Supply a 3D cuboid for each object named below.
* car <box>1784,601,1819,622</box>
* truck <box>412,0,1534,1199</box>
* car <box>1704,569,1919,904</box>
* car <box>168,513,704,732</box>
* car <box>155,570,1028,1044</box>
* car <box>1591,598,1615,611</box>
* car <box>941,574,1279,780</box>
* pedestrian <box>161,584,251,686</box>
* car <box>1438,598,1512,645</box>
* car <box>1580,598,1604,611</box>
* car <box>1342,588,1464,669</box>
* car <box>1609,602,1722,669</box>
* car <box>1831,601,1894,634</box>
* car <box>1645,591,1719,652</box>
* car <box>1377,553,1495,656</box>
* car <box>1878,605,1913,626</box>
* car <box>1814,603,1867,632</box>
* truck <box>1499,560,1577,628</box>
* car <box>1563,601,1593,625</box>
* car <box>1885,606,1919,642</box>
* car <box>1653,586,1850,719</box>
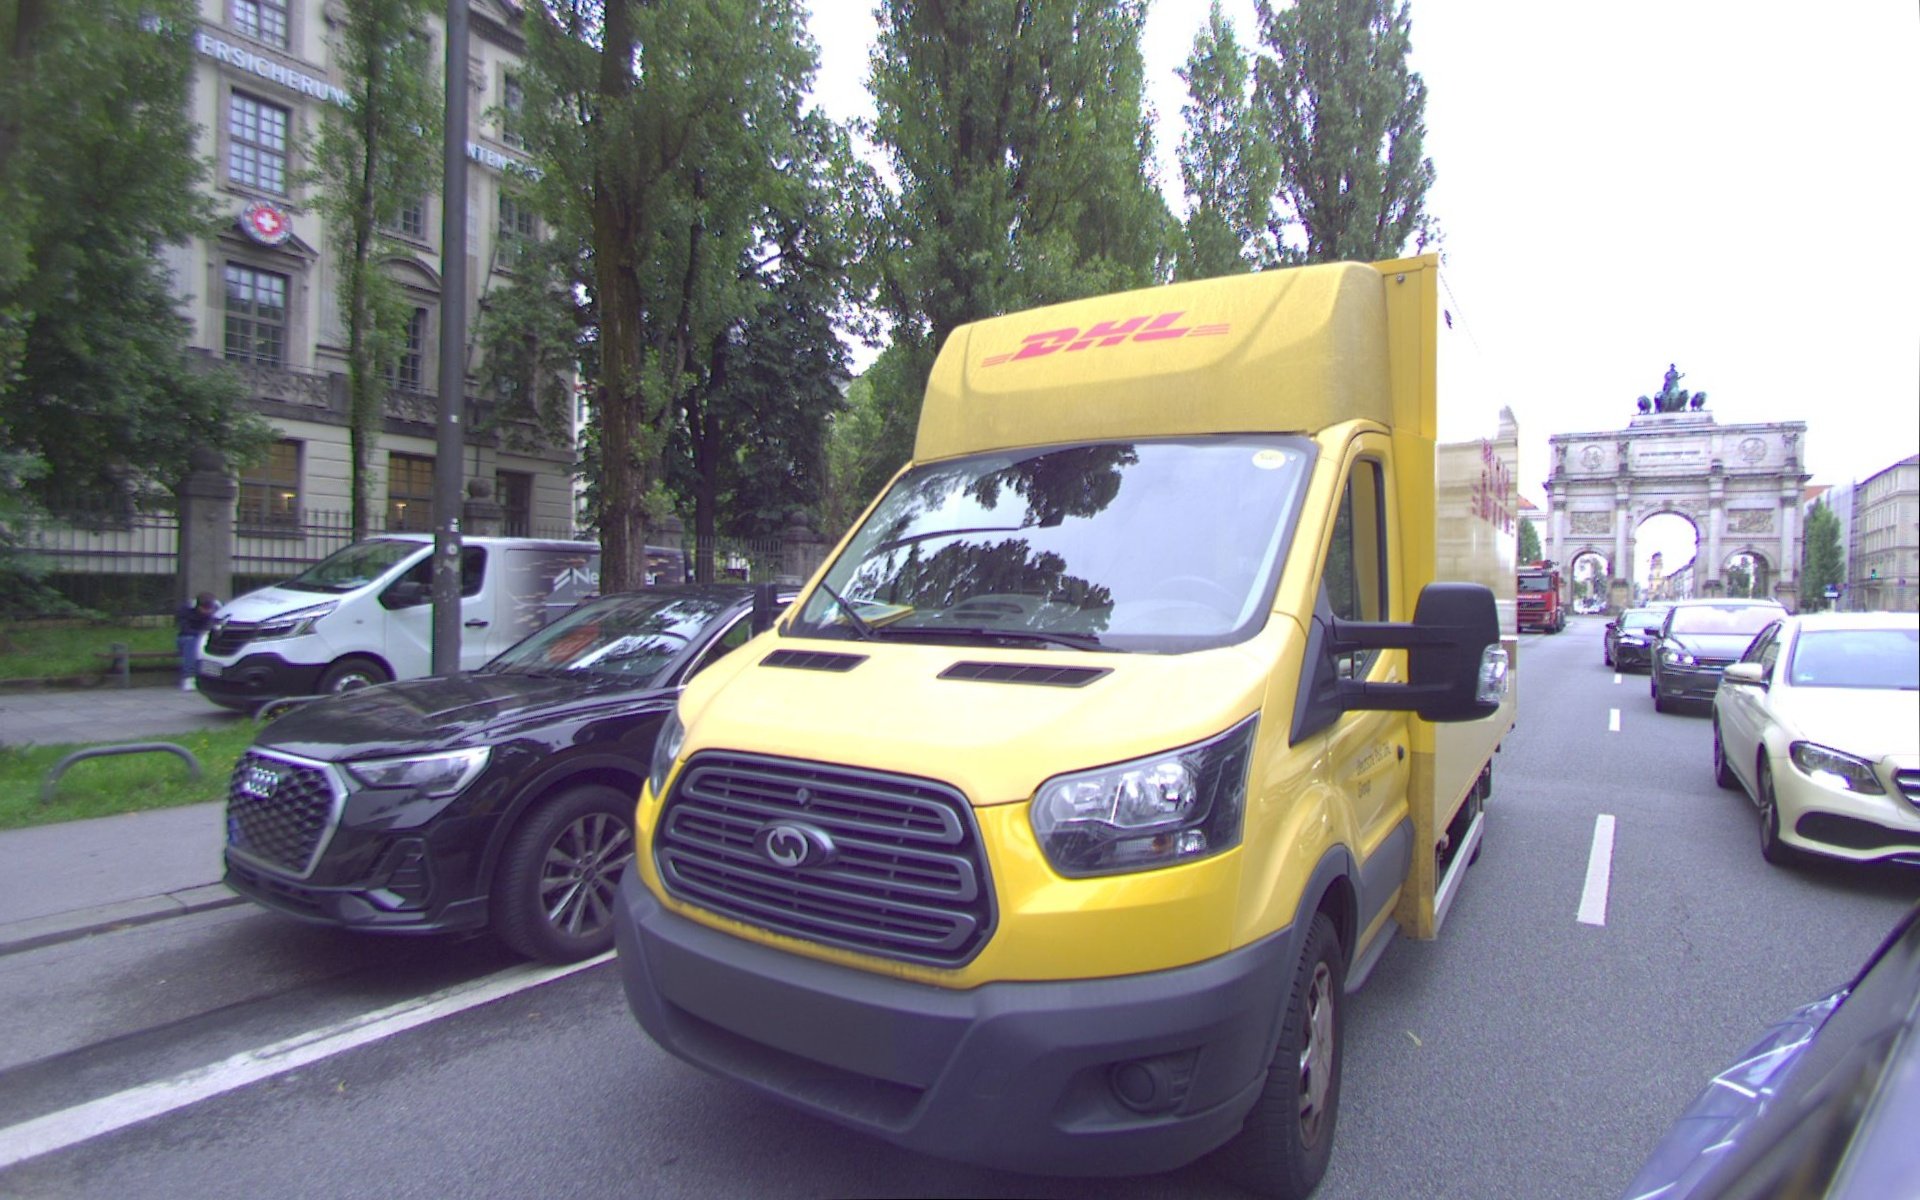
[{"bbox_3d":[73.419,0.990,88.303,4.043,1.676,1.788,1,2,-43],"label":"car"},{"bbox_3d":[1.395,-0.009,5.248,2.318,2.934,7.246,1,1,33],"label":"truck"},{"bbox_3d":[6.195,0.628,6.511,1.906,1.595,4.635,-1,0,32],"label":"car"},{"bbox_3d":[-5.646,0.169,11.751,1.986,1.949,5.261,1,1,33],"label":"car"},{"bbox_3d":[-1.461,0.641,5.503,1.720,1.514,4.270,1,1,35],"label":"car"},{"bbox_3d":[96.144,0.703,151.234,4.243,1.772,1.787,1,1,-40],"label":"car"},{"bbox_3d":[1.696,0.604,10.103,1.774,1.602,4.097,-1,0,33],"label":"car"},{"bbox_3d":[-9.044,0.400,12.145,0.700,1.156,0.716,2,1,40],"label":"pedestrian"},{"bbox_3d":[17.132,0.674,33.569,1.747,1.468,3.952,-1,-1,34],"label":"car"},{"bbox_3d":[92.471,0.620,148.098,4.243,1.772,1.786,1,1,-40],"label":"car"},{"bbox_3d":[9.915,0.562,22.472,1.814,1.610,4.172,0,0,33],"label":"car"},{"bbox_3d":[16.073,0.751,23.244,1.909,1.345,4.360,-1,0,32],"label":"car"},{"bbox_3d":[50.918,0.960,57.197,1.931,1.644,4.905,2,2,34],"label":"car"},{"bbox_3d":[24.005,0.668,33.738,1.879,1.880,4.259,1,1,35],"label":"car"},{"bbox_3d":[13.201,0.109,27.799,2.066,2.510,6.207,0,0,34],"label":"car"},{"bbox_3d":[96.170,1.545,104.117,1.994,1.877,4.926,3,3,36],"label":"car"},{"bbox_3d":[54.809,1.026,63.087,1.812,1.578,4.800,4,3,34],"label":"car"},{"bbox_3d":[30.112,-0.323,52.507,2.704,3.149,10.297,2,1,34],"label":"truck"},{"bbox_3d":[46.823,0.960,76.606,1.796,1.649,3.953,2,1,33],"label":"car"},{"bbox_3d":[43.078,1.089,45.220,1.925,1.516,4.729,2,1,35],"label":"car"},{"bbox_3d":[11.420,0.638,14.903,1.941,1.645,4.358,-1,0,34],"label":"car"}]
